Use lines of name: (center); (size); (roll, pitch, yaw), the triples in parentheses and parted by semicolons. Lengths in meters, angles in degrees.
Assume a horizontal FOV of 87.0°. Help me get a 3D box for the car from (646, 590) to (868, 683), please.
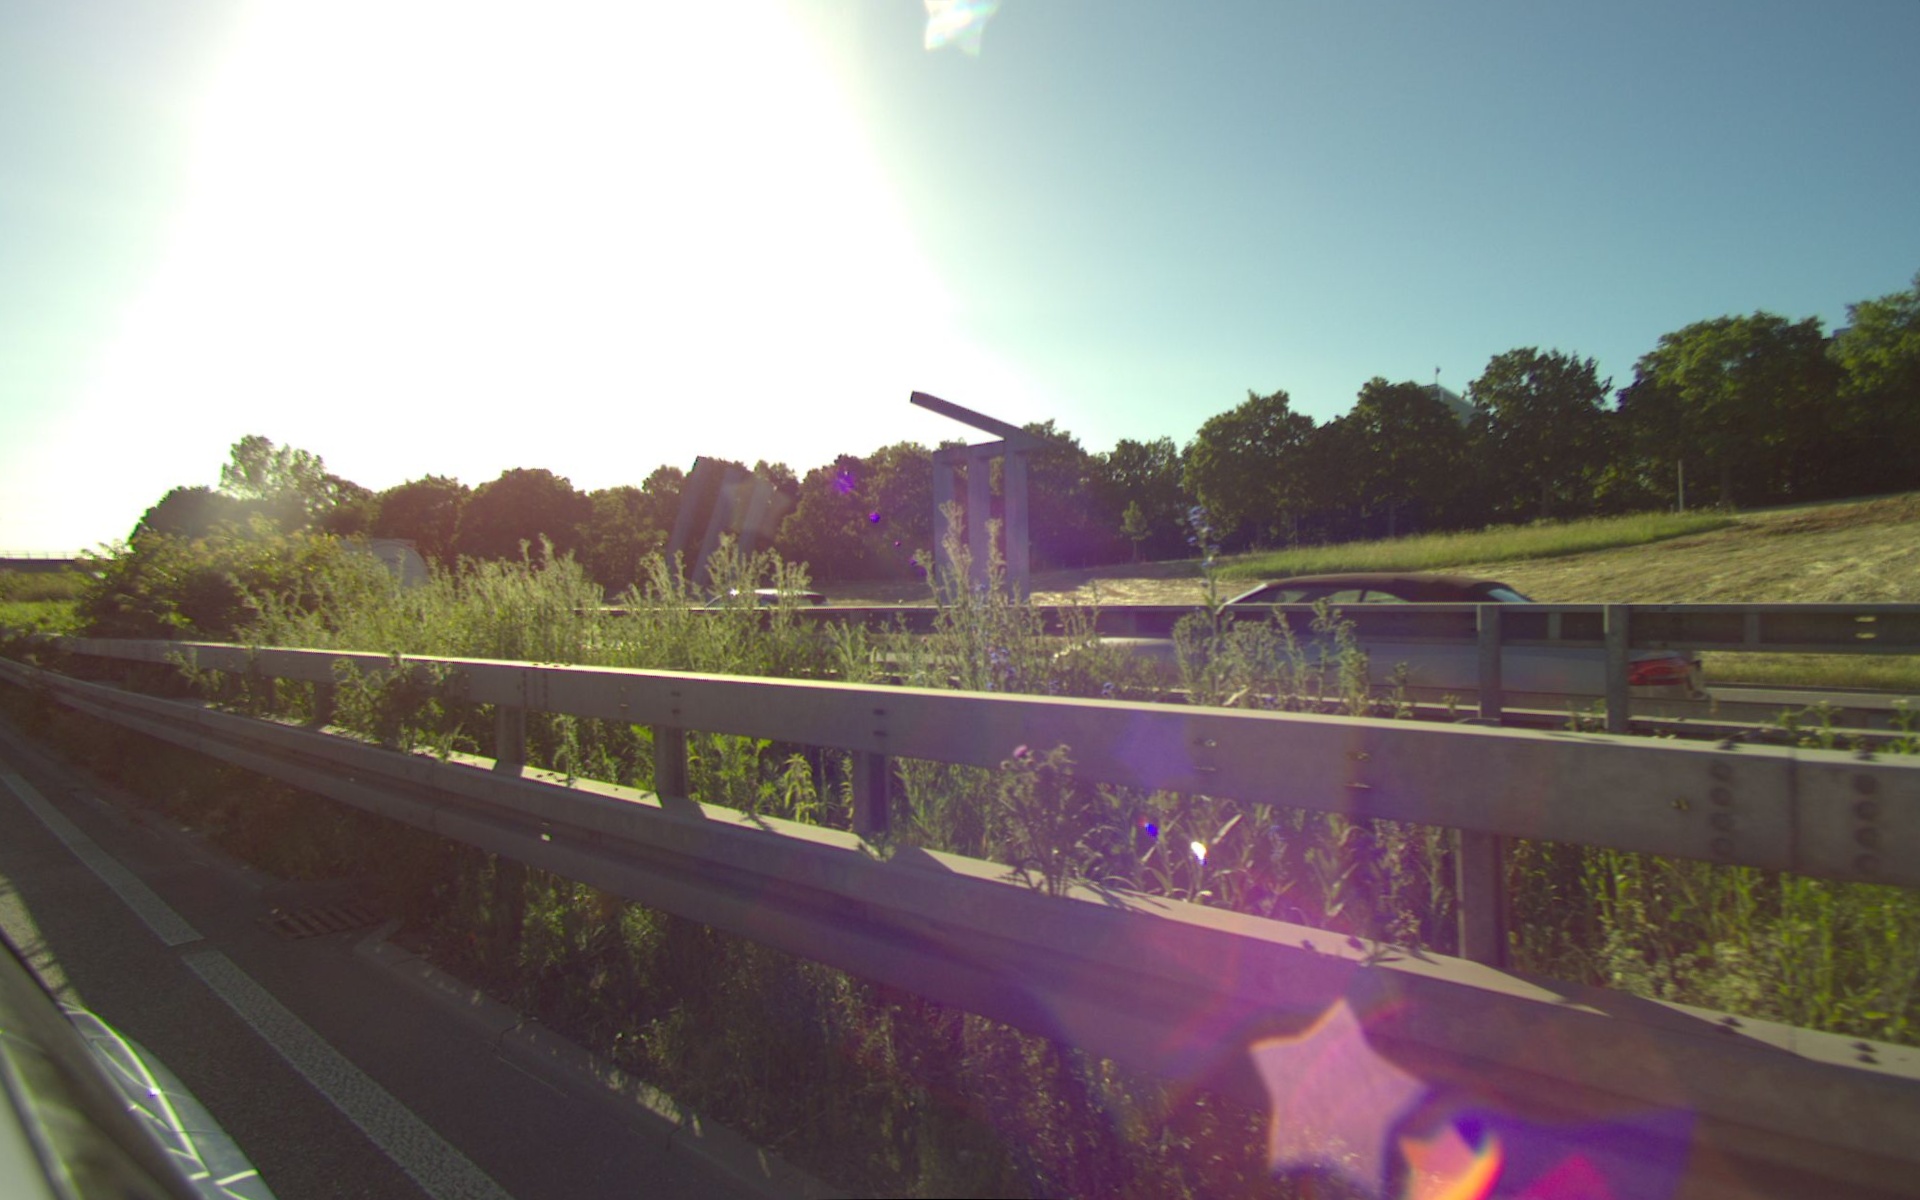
car: (-3.708, 0.601, 18.100); (4.108, 1.454, 1.742); (-1, 1, 41)

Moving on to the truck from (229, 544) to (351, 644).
truck: (-26.512, -0.211, 39.982); (5.323, 3.685, 2.747); (-1, 0, 42)

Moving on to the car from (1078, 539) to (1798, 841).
car: (3.006, 0.440, 6.888); (4.108, 1.454, 1.742); (-1, 1, 41)

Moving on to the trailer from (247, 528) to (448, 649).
trailer: (-22.051, -0.297, 35.923); (12.203, 3.685, 2.746); (-1, 0, 43)
